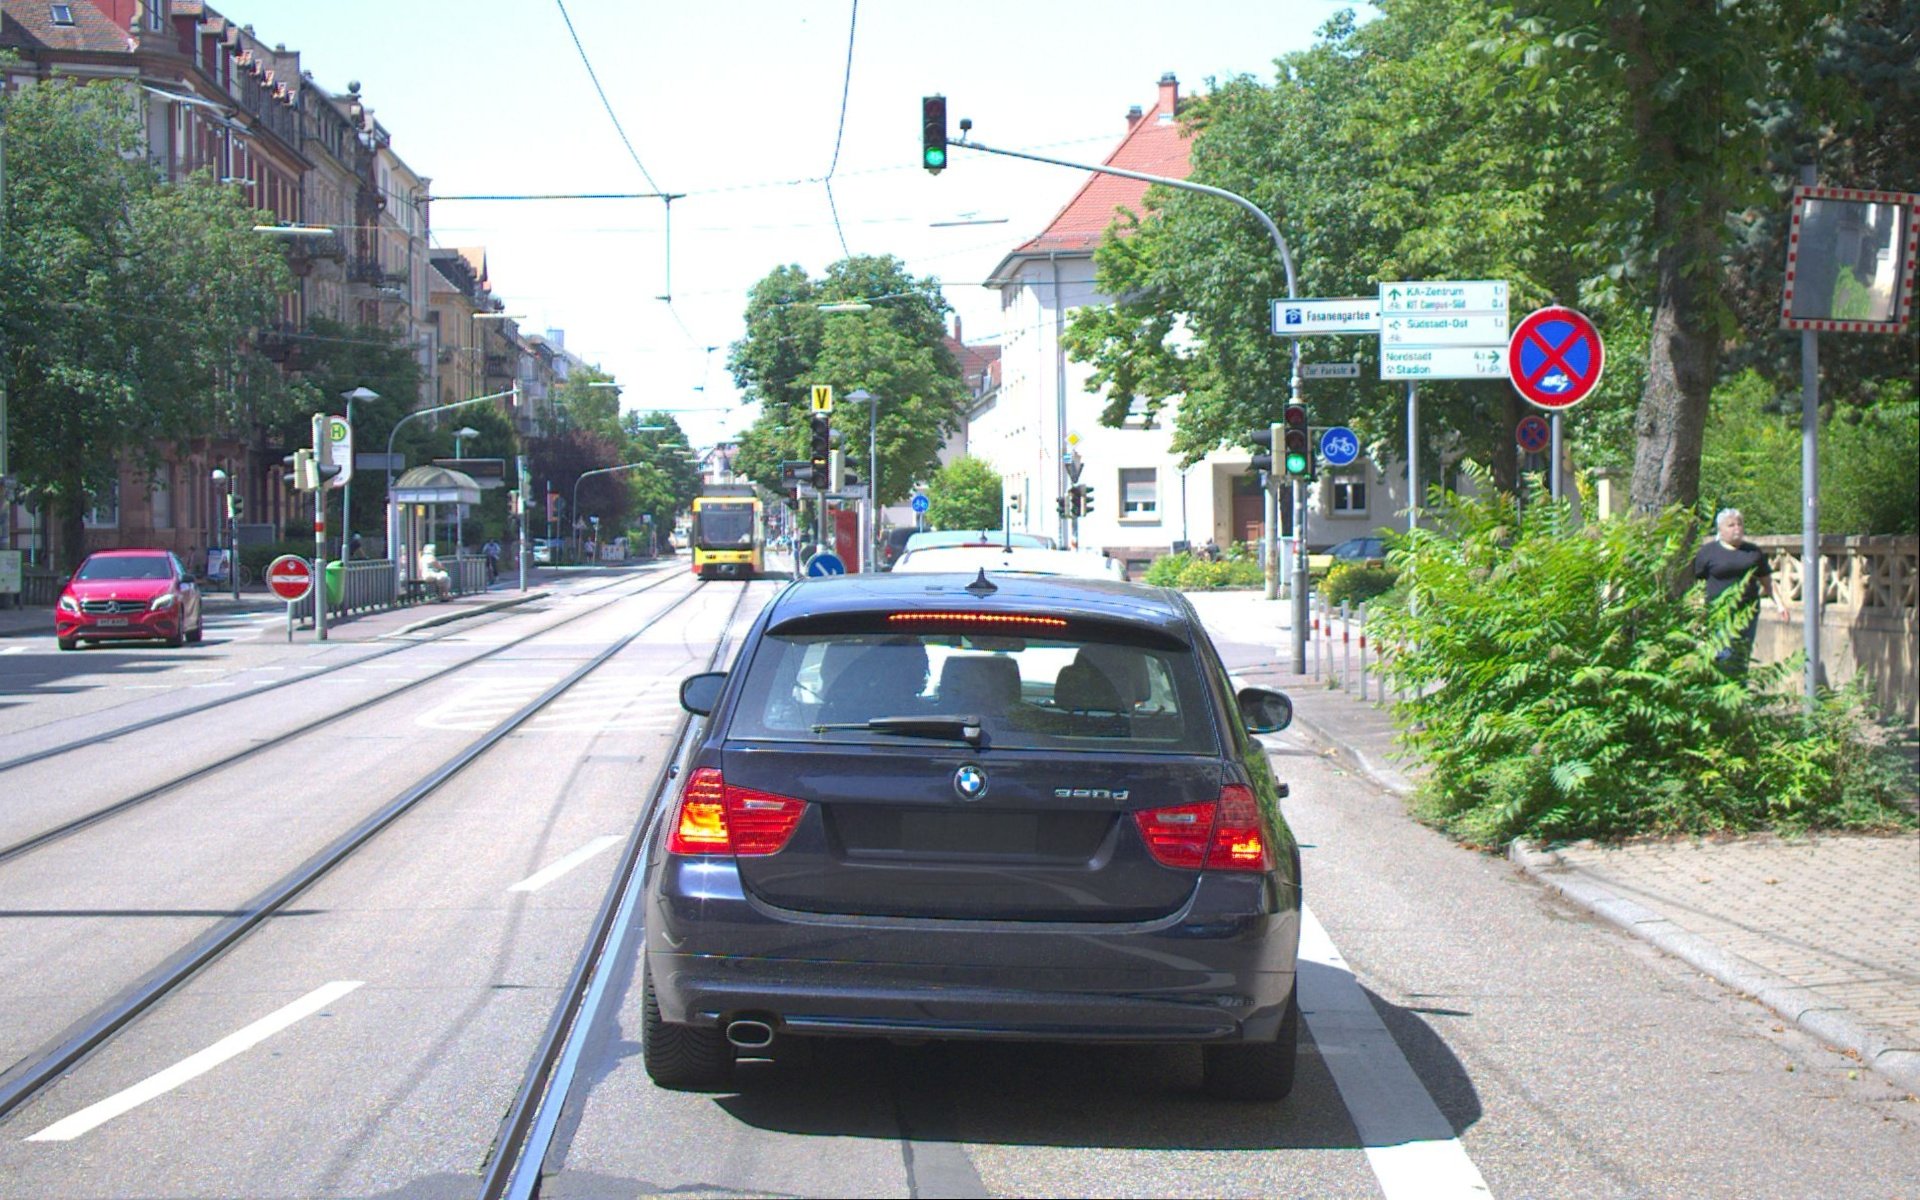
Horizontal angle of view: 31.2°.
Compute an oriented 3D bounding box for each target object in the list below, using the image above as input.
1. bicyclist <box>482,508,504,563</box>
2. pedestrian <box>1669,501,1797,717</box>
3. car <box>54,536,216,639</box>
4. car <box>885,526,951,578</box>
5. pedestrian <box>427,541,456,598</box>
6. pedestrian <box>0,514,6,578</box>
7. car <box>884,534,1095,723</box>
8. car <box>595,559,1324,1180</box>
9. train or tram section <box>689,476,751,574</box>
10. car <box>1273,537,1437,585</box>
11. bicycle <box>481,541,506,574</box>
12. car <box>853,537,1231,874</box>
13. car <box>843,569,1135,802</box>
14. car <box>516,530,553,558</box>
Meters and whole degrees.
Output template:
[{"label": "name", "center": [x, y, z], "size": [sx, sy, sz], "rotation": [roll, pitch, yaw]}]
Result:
[{"label": "bicyclist", "center": [-16.053, -2.224, 118.189], "size": [0.722, 1.864, 0.825], "rotation": [-1, 1, -7]}, {"label": "pedestrian", "center": [5.968, 0.061, 26.593], "size": [0.857, 1.640, 0.836], "rotation": [-1, 1, 6]}, {"label": "car", "center": [-12.332, -0.228, 51.602], "size": [1.822, 1.408, 4.430], "rotation": [-2, 1, -7]}, {"label": "car", "center": [-1.530, -1.739, 124.517], "size": [1.993, 1.842, 4.001], "rotation": [-1, 1, -7]}, {"label": "pedestrian", "center": [-11.183, -0.660, 74.108], "size": [0.613, 1.238, 0.628], "rotation": [0, 1, -9]}, {"label": "pedestrian", "center": [-27.694, -1.533, 98.023], "size": [0.738, 1.805, 0.641], "rotation": [-1, 1, -40]}, {"label": "car", "center": [0.279, 0.197, 29.822], "size": [1.691, 1.508, 3.821], "rotation": [1, 1, 1]}, {"label": "car", "center": [0.078, 0.623, 10.603], "size": [1.722, 1.404, 4.565], "rotation": [2, 1, 2]}, {"label": "train or tram section", "center": [-8.851, -2.790, 127.453], "size": [2.190, 3.470, 8.847], "rotation": [-1, 1, -3]}, {"label": "car", "center": [10.449, -1.038, 91.051], "size": [3.994, 1.239, 1.620], "rotation": [0, 1, 32]}, {"label": "bicycle", "center": [-16.049, -1.468, 118.333], "size": [0.728, 1.098, 1.716], "rotation": [-1, 1, -4]}, {"label": "car", "center": [0.337, 0.437, 17.251], "size": [1.685, 1.479, 3.685], "rotation": [-1, 1, -1]}, {"label": "car", "center": [0.110, 0.485, 22.081], "size": [1.691, 1.318, 3.822], "rotation": [0, 1, -2]}, {"label": "car", "center": [-24.553, -3.228, 198.214], "size": [1.787, 1.580, 4.001], "rotation": [1, 1, -11]}]
